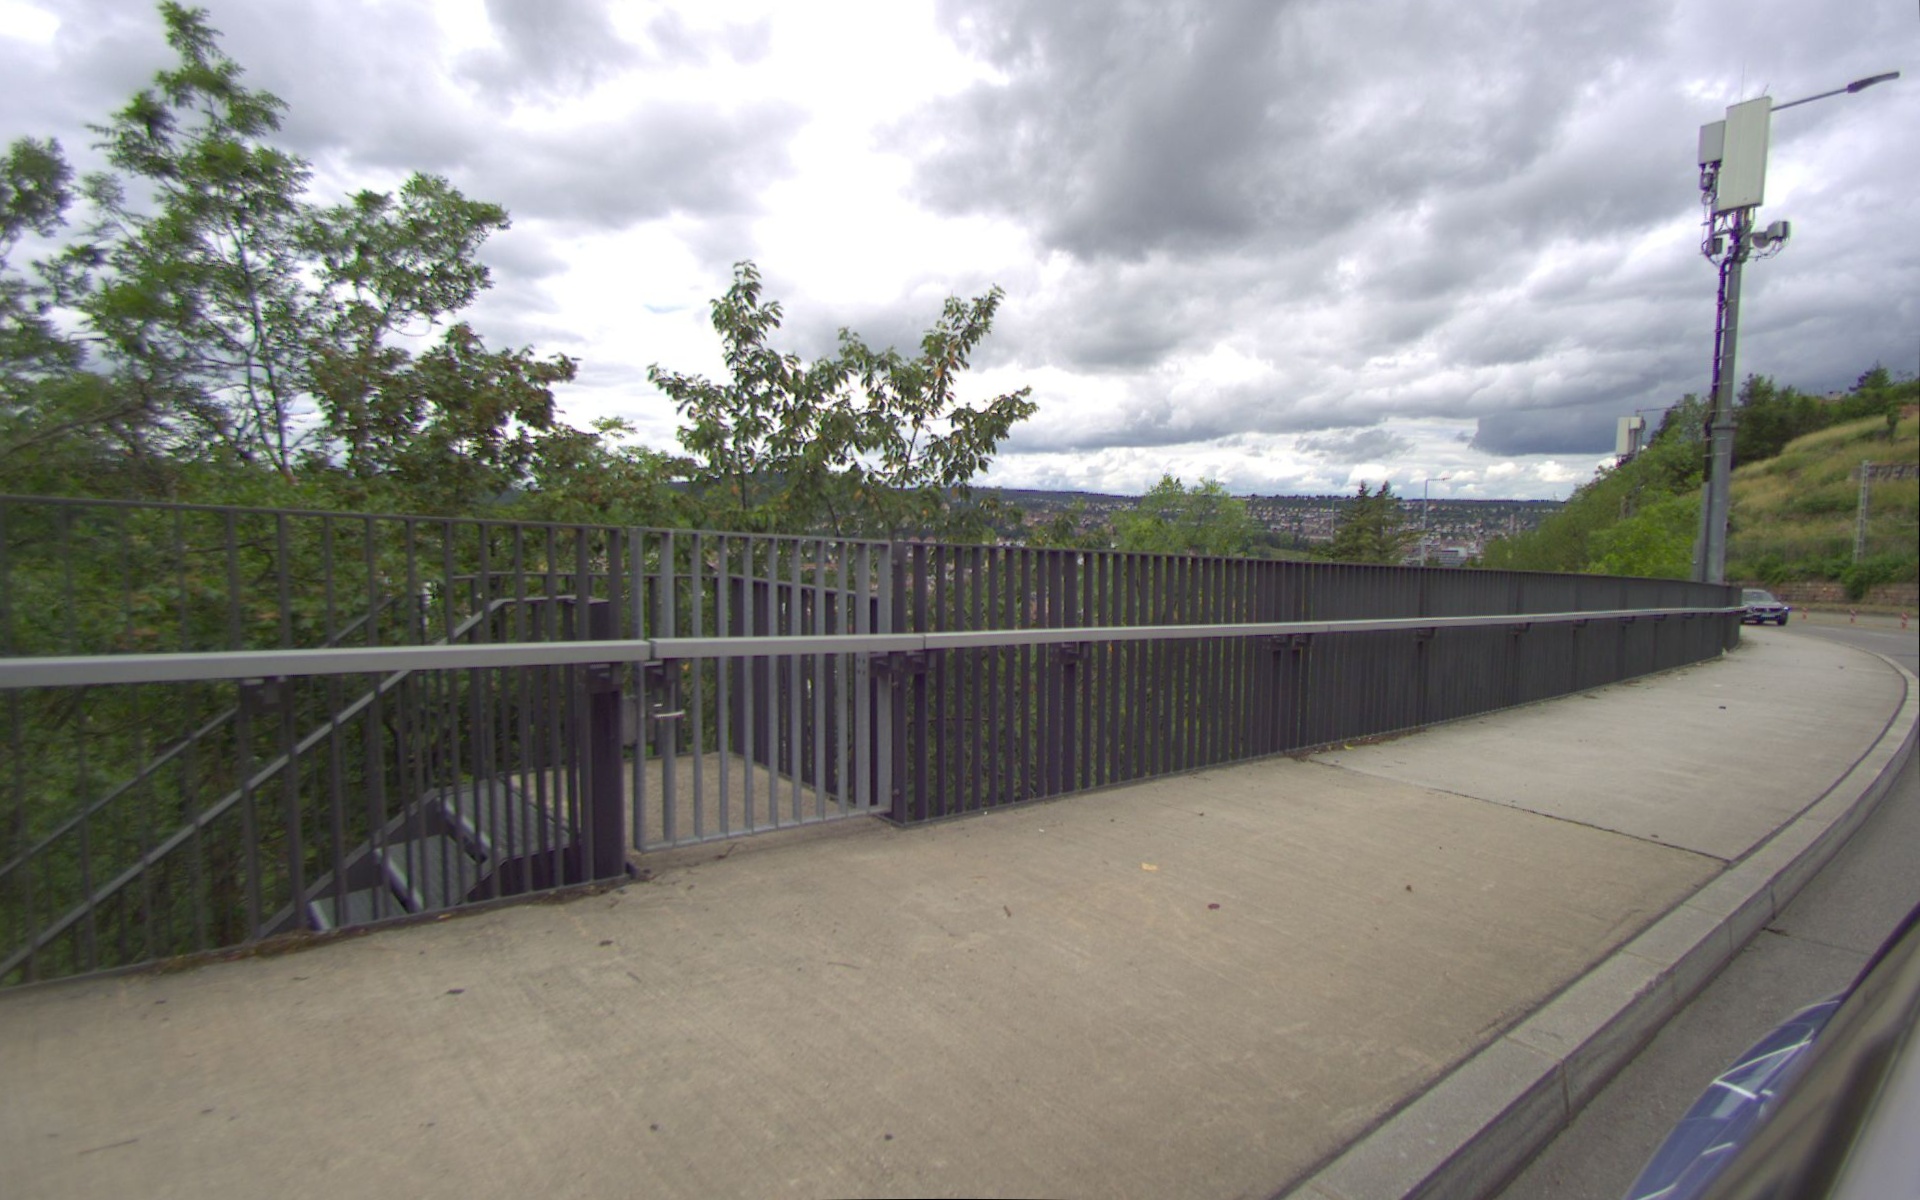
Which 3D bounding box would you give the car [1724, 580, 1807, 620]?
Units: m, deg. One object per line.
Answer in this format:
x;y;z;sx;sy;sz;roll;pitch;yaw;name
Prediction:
37.481;-0.043;47.207;1.980;1.691;4.498;3;2;26;car
